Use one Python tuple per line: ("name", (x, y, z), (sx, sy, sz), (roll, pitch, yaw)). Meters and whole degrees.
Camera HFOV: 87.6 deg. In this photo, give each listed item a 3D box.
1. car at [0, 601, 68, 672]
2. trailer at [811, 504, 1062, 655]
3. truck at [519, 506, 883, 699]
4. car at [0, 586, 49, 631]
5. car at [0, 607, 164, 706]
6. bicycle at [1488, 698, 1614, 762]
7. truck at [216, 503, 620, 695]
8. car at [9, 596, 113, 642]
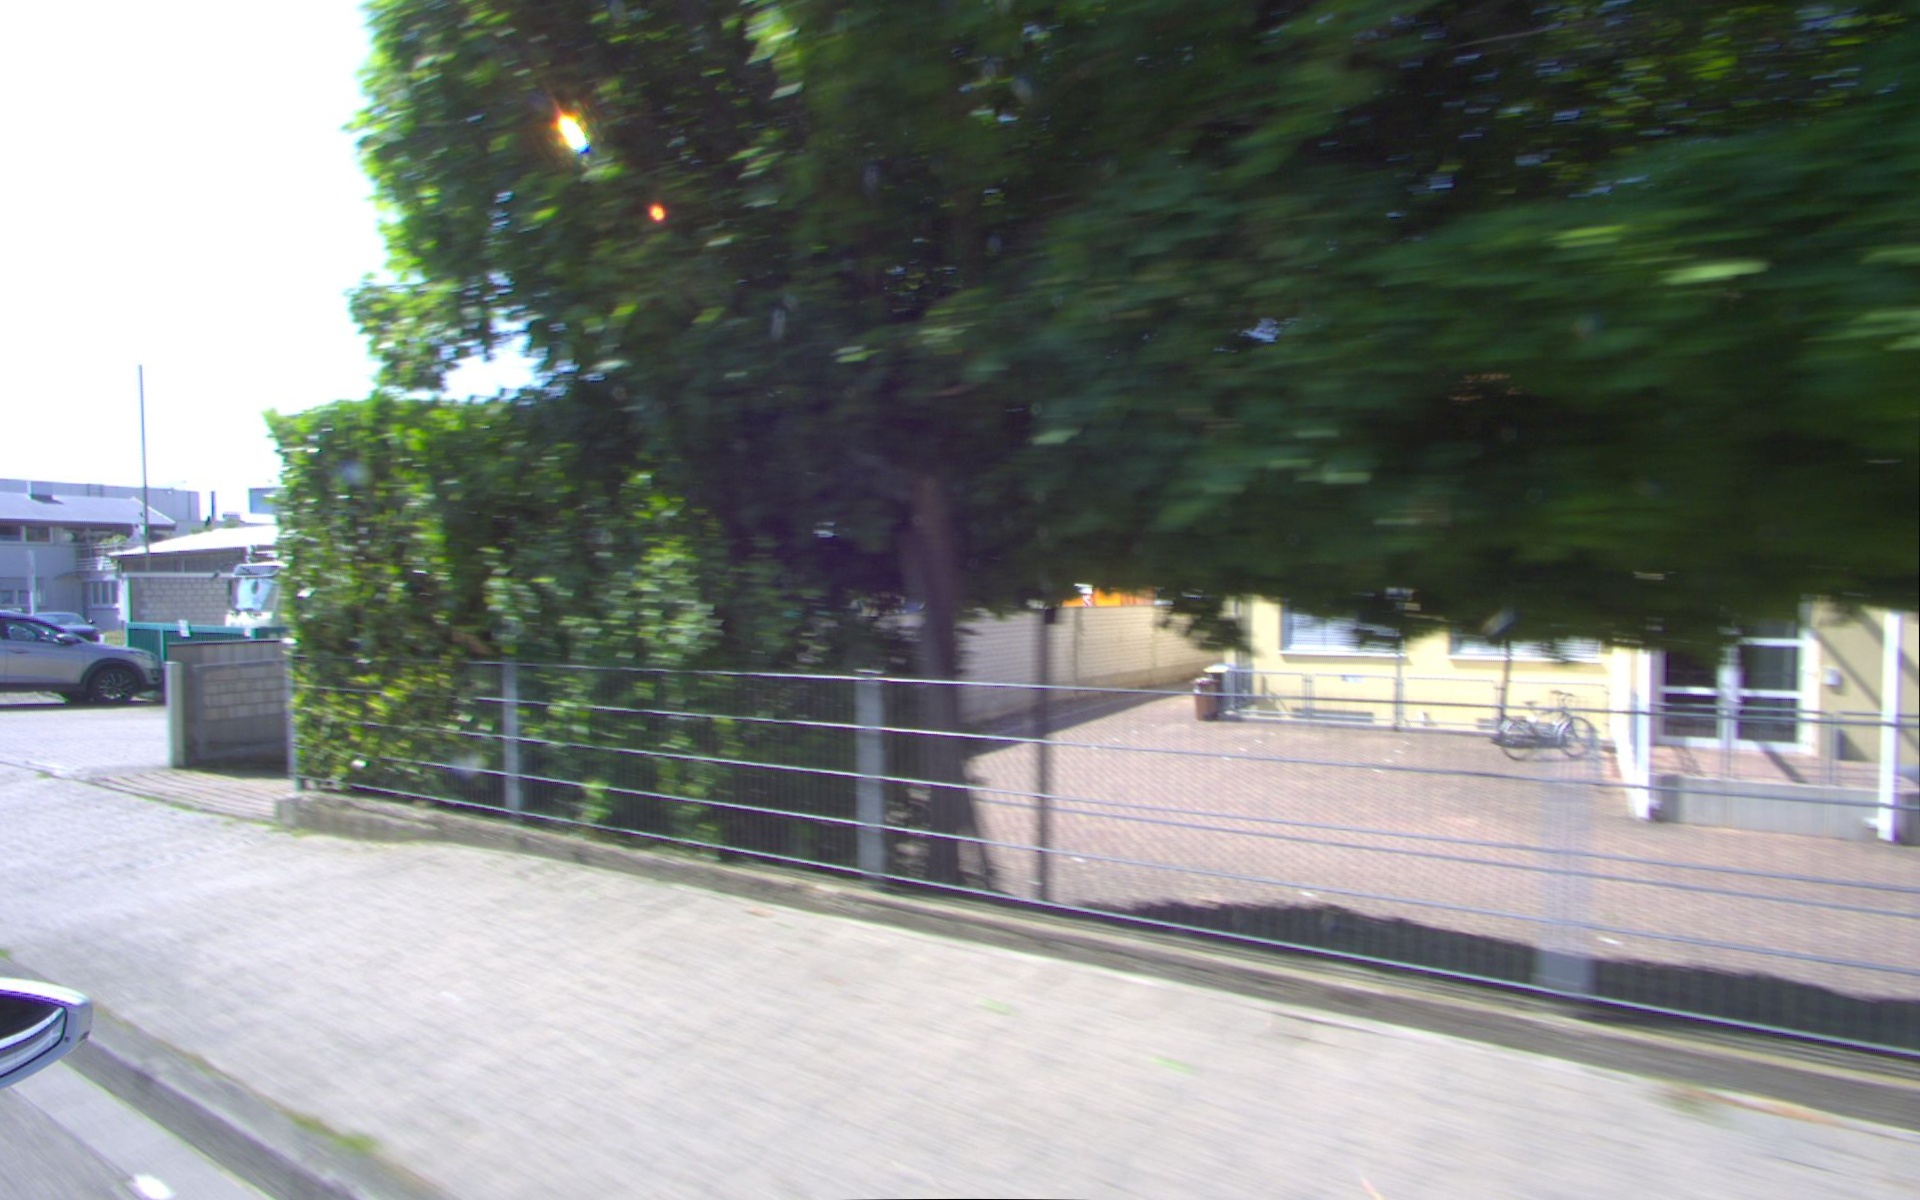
("car", (-22.013, 0.840, 21.172), (1.864, 1.461, 4.342), (1, 2, 31))
("trailer", (-0.404, -0.649, 30.162), (3.028, 3.916, 8.299), (1, 2, 37))
("truck", (-5.536, -0.045, 23.213), (2.913, 3.660, 8.249), (1, 2, 35))
("car", (-34.955, 0.305, 35.846), (4.078, 1.517, 1.759), (0, 4, 22))
("car", (-17.072, 0.983, 17.811), (1.741, 1.703, 4.196), (0, -2, 31))
("bicycle", (10.212, 2.243, 17.348), (1.778, 1.007, 0.617), (0, 3, 2))
("truck", (-11.344, 0.081, 21.889), (2.490, 3.467, 7.505), (1, -1, 32))
("car", (-29.524, 0.596, 32.851), (4.045, 1.343, 1.636), (1, 2, 35))
